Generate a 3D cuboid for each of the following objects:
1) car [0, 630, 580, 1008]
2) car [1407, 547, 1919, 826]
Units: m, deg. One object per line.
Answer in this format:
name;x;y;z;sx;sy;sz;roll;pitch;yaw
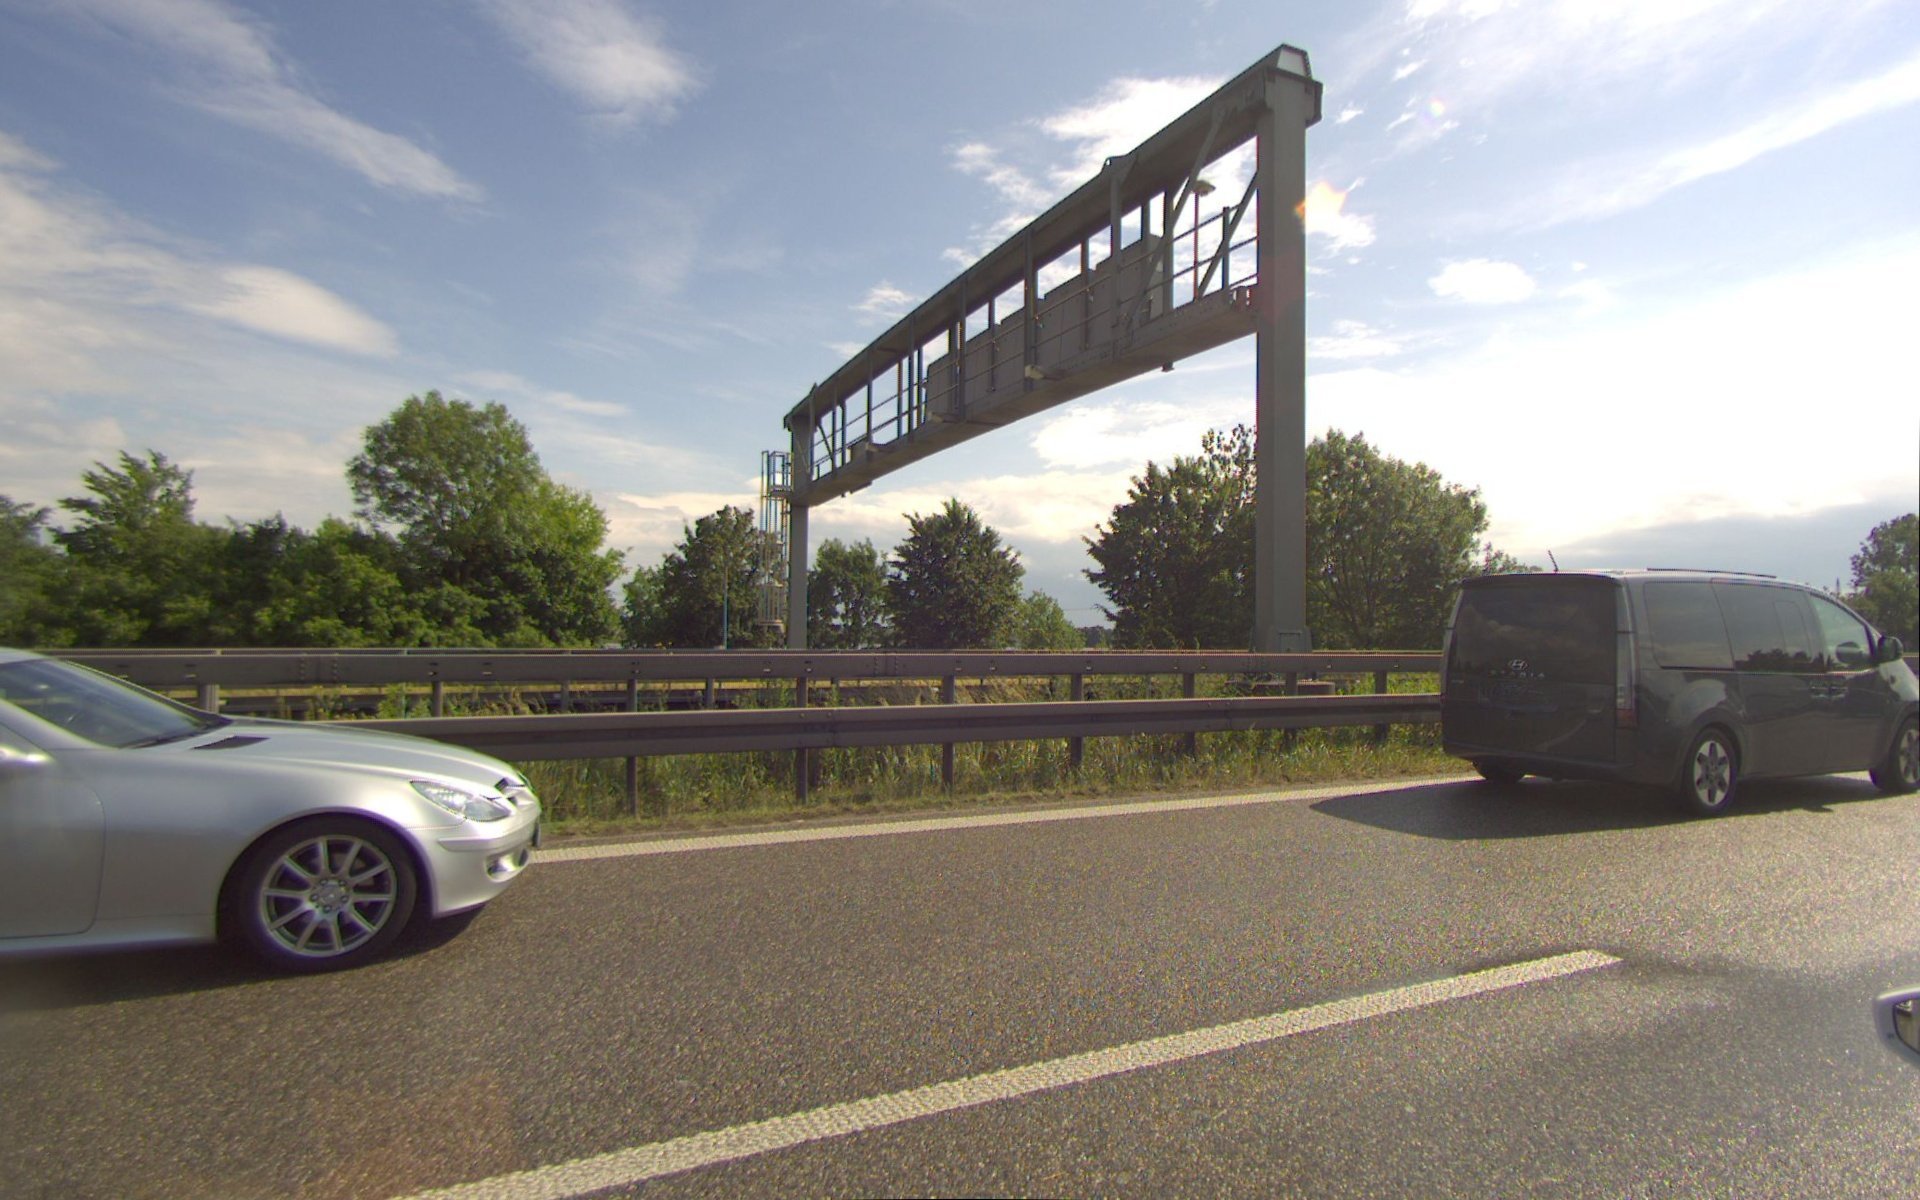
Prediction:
car;-3.838;0.795;4.277;4.010;1.295;1.718;1;-1;-27
car;6.839;0.699;9.373;5.198;2.040;1.987;1;-1;-26
